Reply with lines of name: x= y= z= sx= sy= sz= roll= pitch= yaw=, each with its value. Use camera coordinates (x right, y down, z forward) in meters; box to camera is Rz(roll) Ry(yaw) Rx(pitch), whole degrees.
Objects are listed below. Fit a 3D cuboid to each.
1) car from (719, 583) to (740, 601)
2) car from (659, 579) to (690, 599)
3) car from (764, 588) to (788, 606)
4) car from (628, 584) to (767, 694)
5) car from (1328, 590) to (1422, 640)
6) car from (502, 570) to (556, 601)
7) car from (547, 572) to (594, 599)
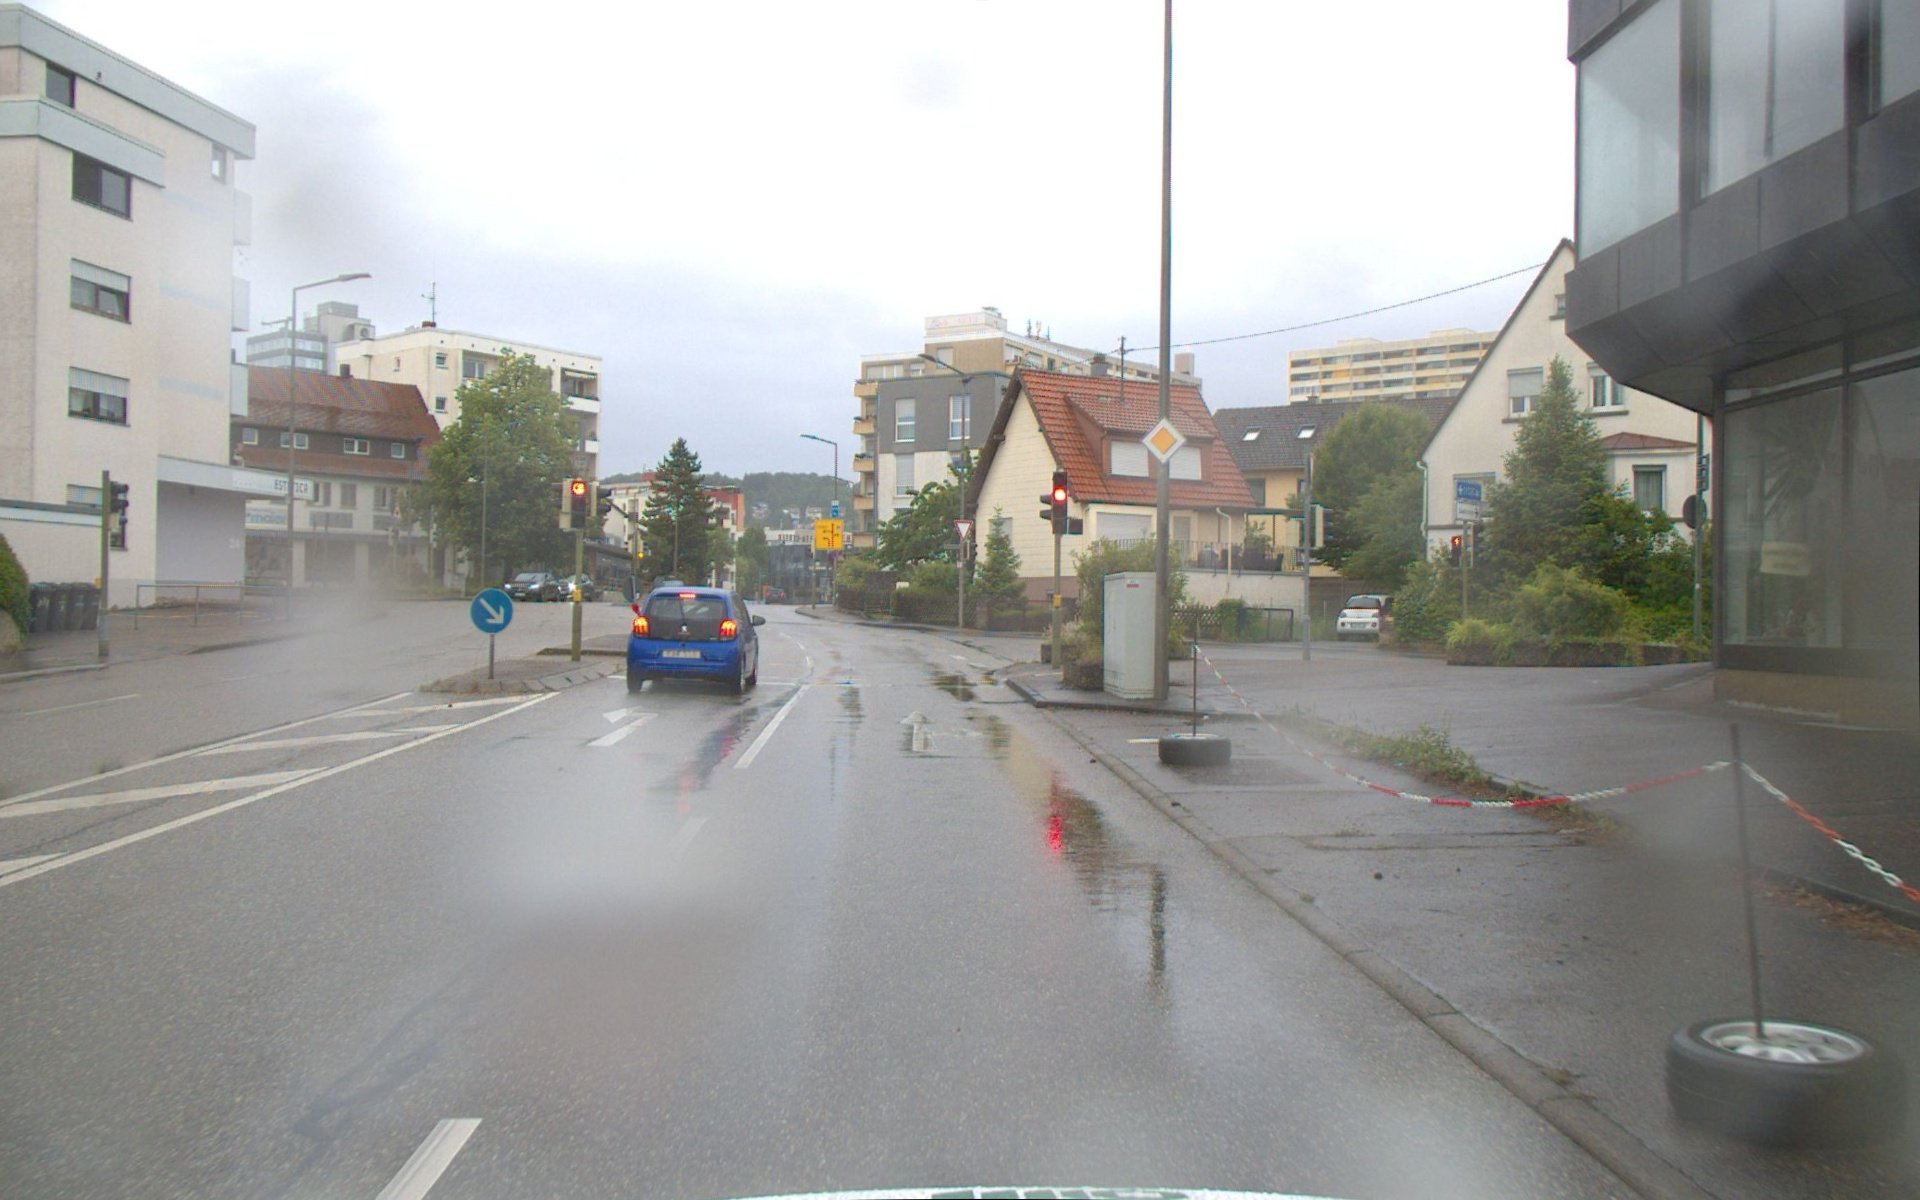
car: x=-24.011 y=-0.830 z=172.346 sx=1.720 sy=1.847 sz=3.860 roll=1 pitch=1 yaw=-2
car: x=-20.956 y=-0.813 z=121.558 sx=1.743 sy=1.445 sz=3.829 roll=1 pitch=1 yaw=-3
car: x=-16.402 y=-0.275 z=147.448 sx=1.776 sy=1.512 sz=4.188 roll=0 pitch=1 yaw=-2
car: x=-3.696 y=0.505 z=23.735 sx=1.547 sy=1.435 sz=3.269 roll=1 pitch=1 yaw=-2
car: x=13.595 y=0.482 z=54.029 sx=1.709 sy=1.541 sz=3.987 roll=1 pitch=1 yaw=34
car: x=-21.003 y=-0.708 z=80.720 sx=1.743 sy=1.445 sz=3.829 roll=1 pitch=1 yaw=-3
car: x=-20.705 y=-0.778 z=88.066 sx=1.681 sy=1.411 sz=4.018 roll=1 pitch=1 yaw=-3
